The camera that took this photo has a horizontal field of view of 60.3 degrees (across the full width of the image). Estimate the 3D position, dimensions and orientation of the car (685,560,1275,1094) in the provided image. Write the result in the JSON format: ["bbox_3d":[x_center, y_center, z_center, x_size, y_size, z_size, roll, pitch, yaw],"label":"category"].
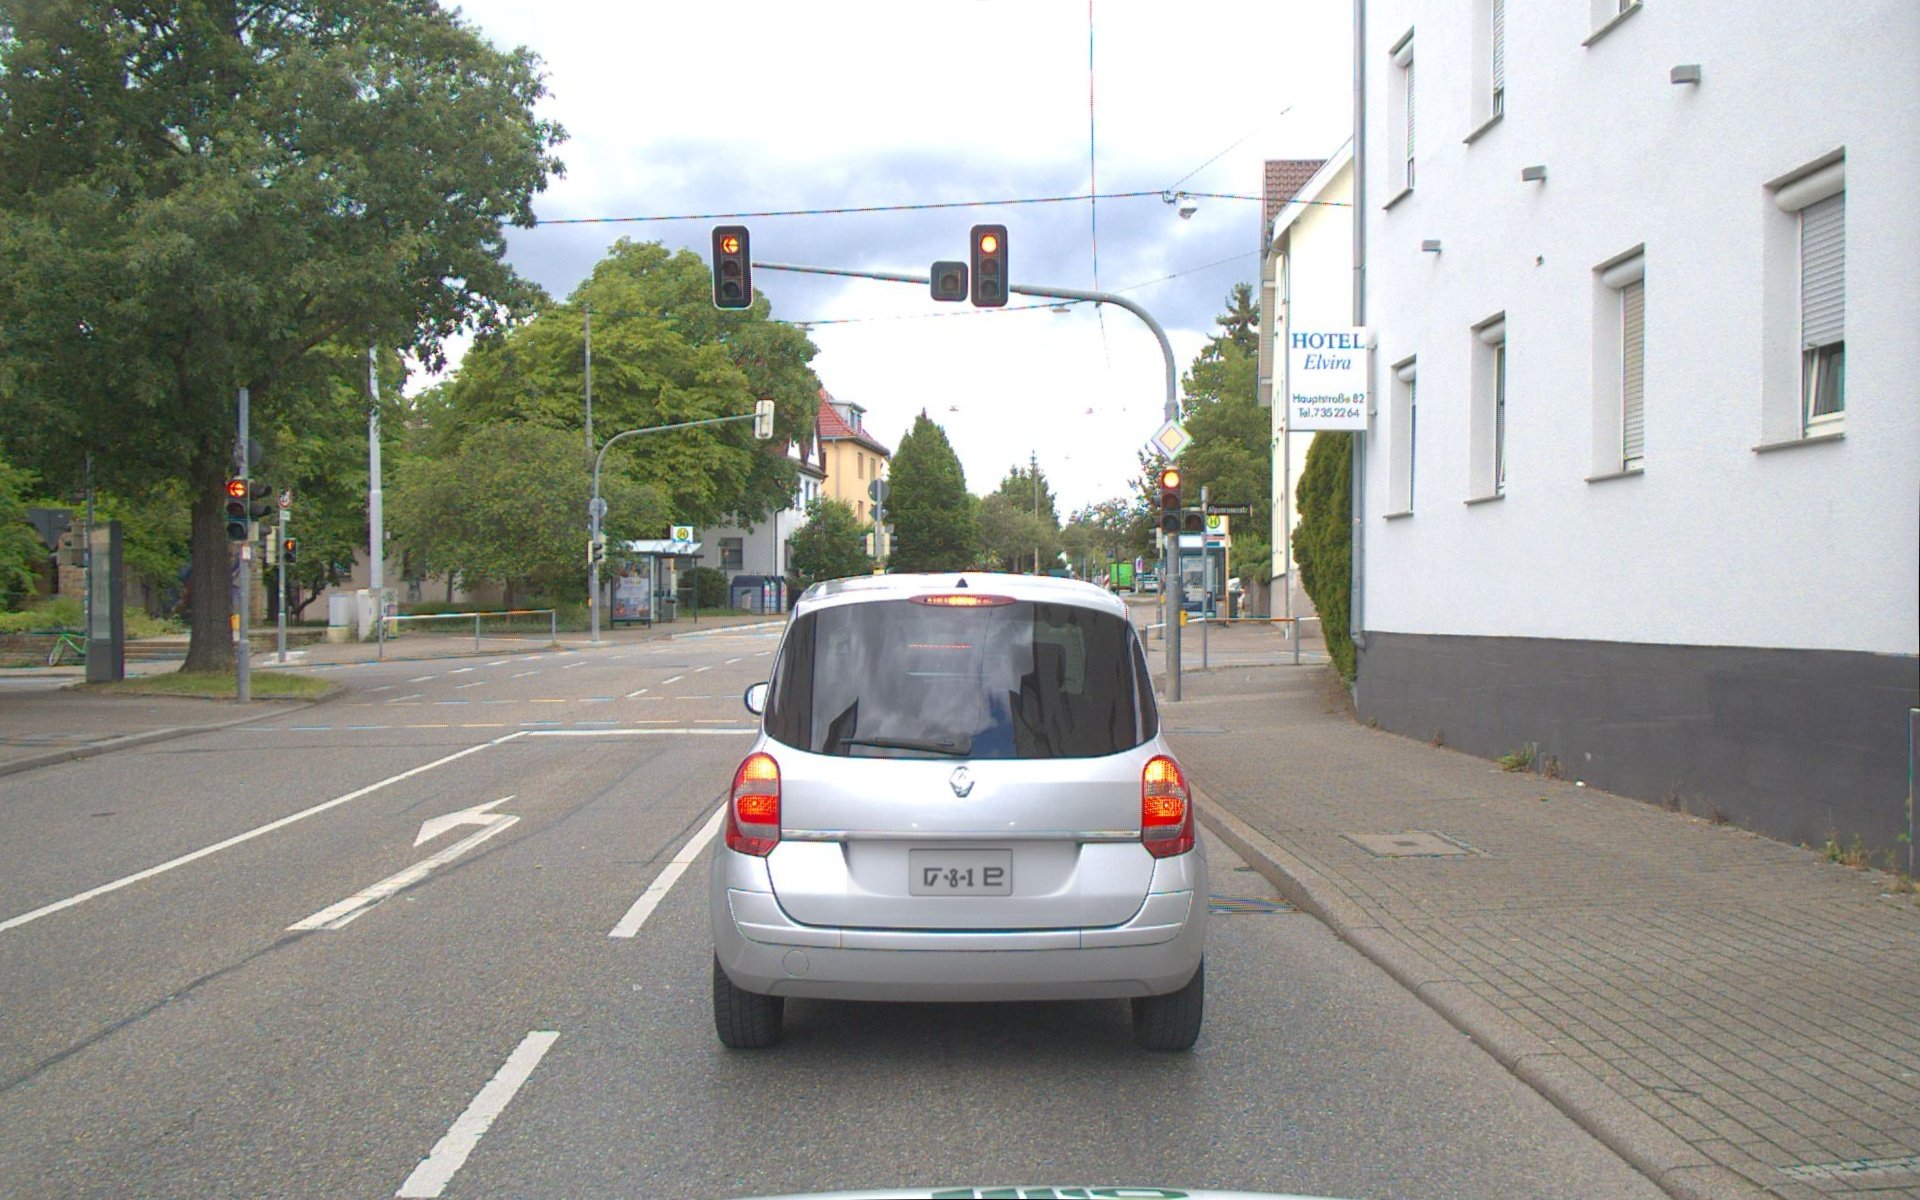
[{"bbox_3d":[0.023,0.667,6.857,1.719,1.557,3.999,1,0,-1],"label":"car"}]

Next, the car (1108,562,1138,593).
[{"bbox_3d":[13.861,-1.911,140.785,2.015,2.556,5.600,1,0,11],"label":"car"}]

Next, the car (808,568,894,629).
[{"bbox_3d":[-3.537,-0.068,54.417,1.885,1.804,4.004,-4,0,9],"label":"car"}]

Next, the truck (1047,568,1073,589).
[{"bbox_3d":[10.091,-2.189,166.972,2.056,2.049,5.752,1,0,9],"label":"truck"}]

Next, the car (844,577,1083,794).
[{"bbox_3d":[-0.013,0.620,13.903,1.719,1.557,3.796,1,0,-1],"label":"car"}]
